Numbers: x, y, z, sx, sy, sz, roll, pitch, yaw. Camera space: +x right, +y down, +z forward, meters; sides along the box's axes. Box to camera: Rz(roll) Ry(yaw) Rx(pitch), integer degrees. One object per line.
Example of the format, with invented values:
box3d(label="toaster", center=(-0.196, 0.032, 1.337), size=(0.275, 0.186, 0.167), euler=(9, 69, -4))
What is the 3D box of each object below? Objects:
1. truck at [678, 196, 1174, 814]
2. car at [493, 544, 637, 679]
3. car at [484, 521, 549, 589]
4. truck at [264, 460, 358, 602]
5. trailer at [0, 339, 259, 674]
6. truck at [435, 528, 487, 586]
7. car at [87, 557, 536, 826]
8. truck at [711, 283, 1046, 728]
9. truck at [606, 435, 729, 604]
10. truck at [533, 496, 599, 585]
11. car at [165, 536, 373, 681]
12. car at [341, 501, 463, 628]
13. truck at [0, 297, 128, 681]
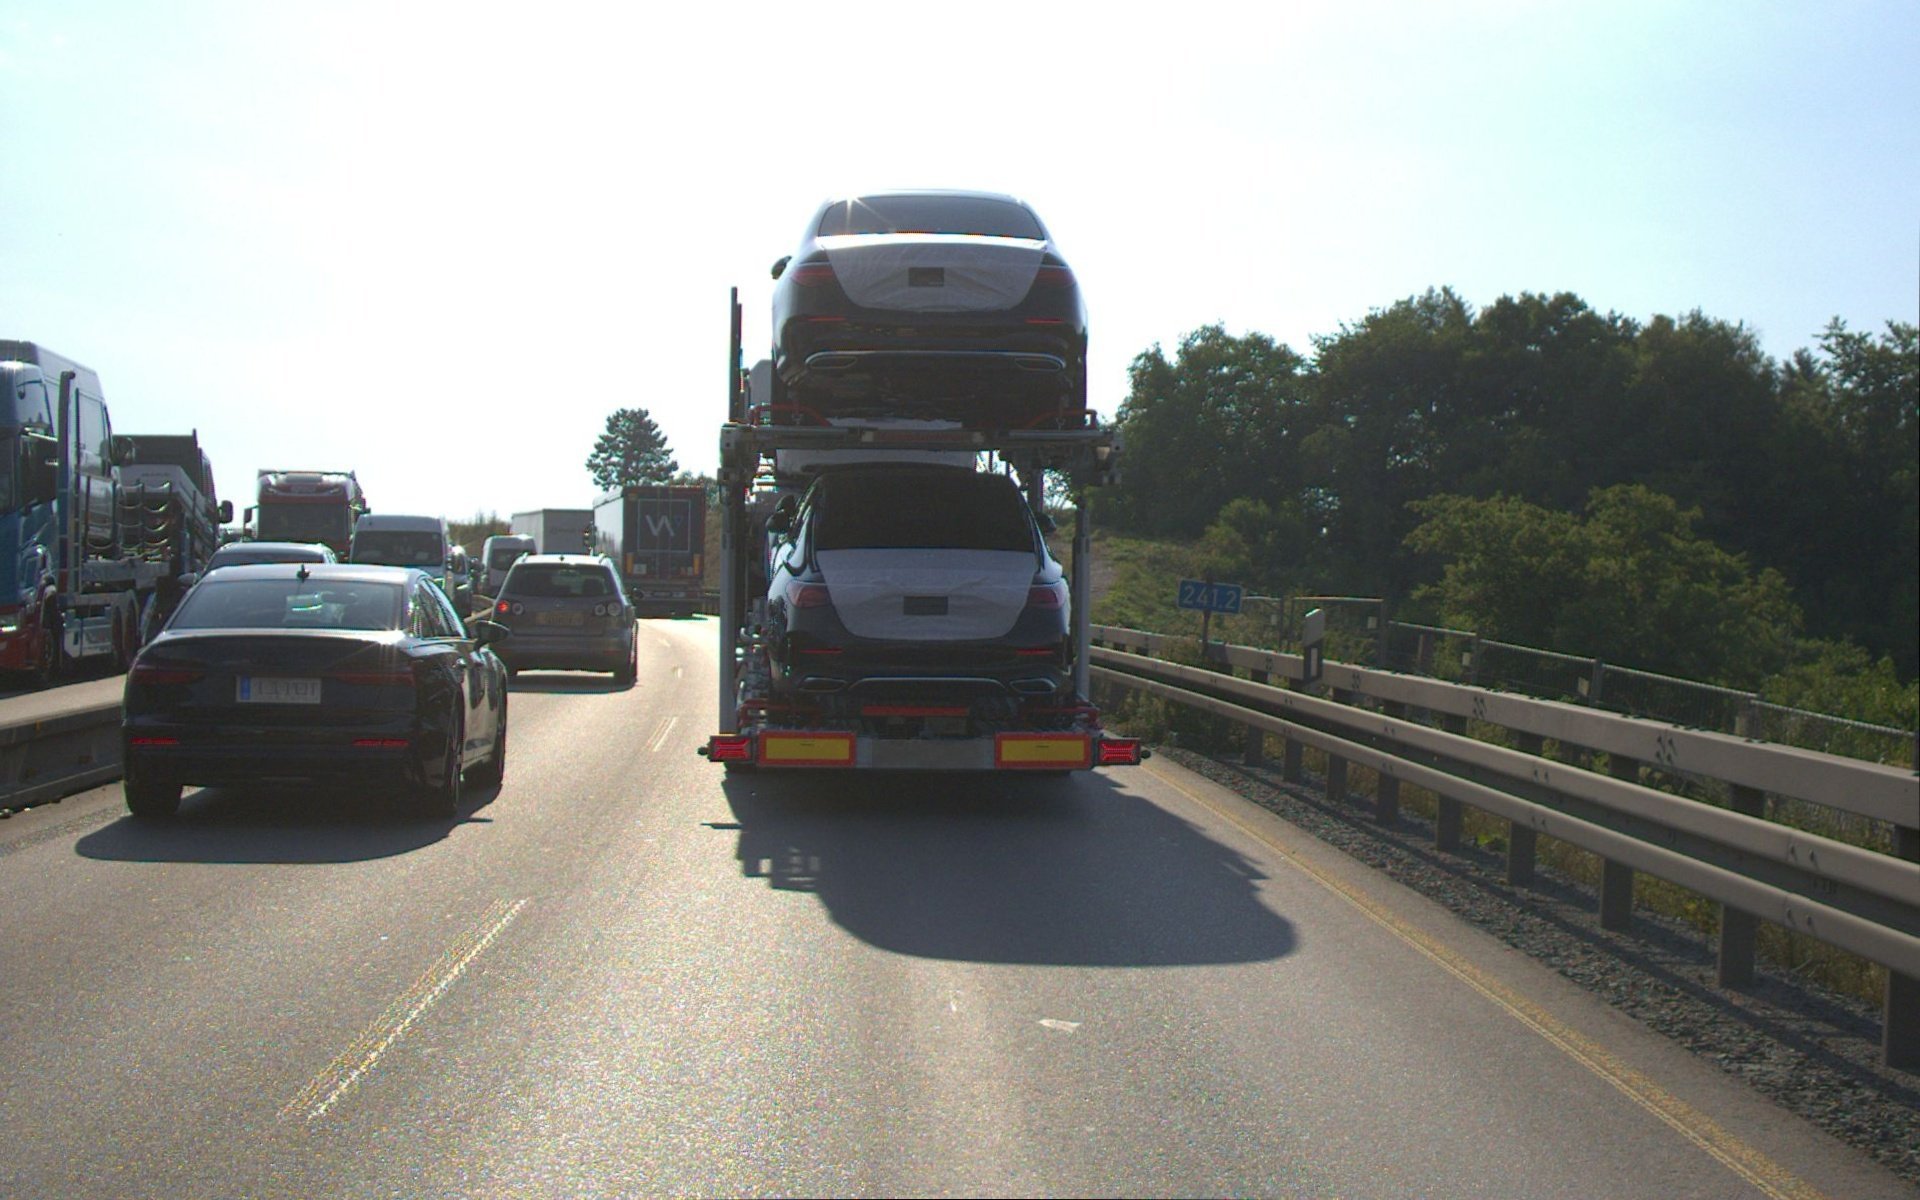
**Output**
box3d(label="truck", center=(-0.482, -0.591, 24.746), size=(2.799, 3.485, 10.607), euler=(0, 1, -3))
box3d(label="car", center=(-4.889, 0.118, 42.711), size=(1.691, 1.590, 4.001), euler=(0, 1, -6))
box3d(label="car", center=(-16.397, -1.658, 127.260), size=(1.920, 2.484, 5.409), euler=(0, 1, -2))
box3d(label="truck", center=(-17.550, -1.813, 93.035), size=(2.313, 3.595, 11.975), euler=(0, 1, -11))
box3d(label="trailer", center=(-11.993, -1.165, 47.238), size=(2.694, 3.859, 15.393), euler=(0, 1, -4))
box3d(label="truck", center=(-28.044, -2.413, 193.396), size=(2.590, 3.159, 6.678), euler=(0, 1, -6))
box3d(label="car", center=(-3.790, 0.463, 20.963), size=(1.934, 1.394, 4.961), euler=(0, 1, -2))
box3d(label="truck", center=(-0.899, -0.857, 34.253), size=(2.838, 3.779, 9.988), euler=(0, 1, -2))
box3d(label="truck", center=(-9.546, -2.545, 111.167), size=(3.285, 5.219, 9.938), euler=(0, 1, -9))
box3d(label="truck", center=(-16.578, -2.472, 145.016), size=(2.530, 3.635, 8.907), euler=(0, 1, -5))
box3d(label="car", center=(-8.448, 0.074, 42.388), size=(1.870, 1.688, 4.597), euler=(0, 1, -3))
box3d(label="car", center=(-11.381, -0.728, 70.441), size=(2.104, 2.474, 6.068), euler=(0, 1, -6))
box3d(label="truck", center=(-11.251, -1.201, 39.145), size=(2.503, 4.052, 5.885), euler=(0, 1, -4))
